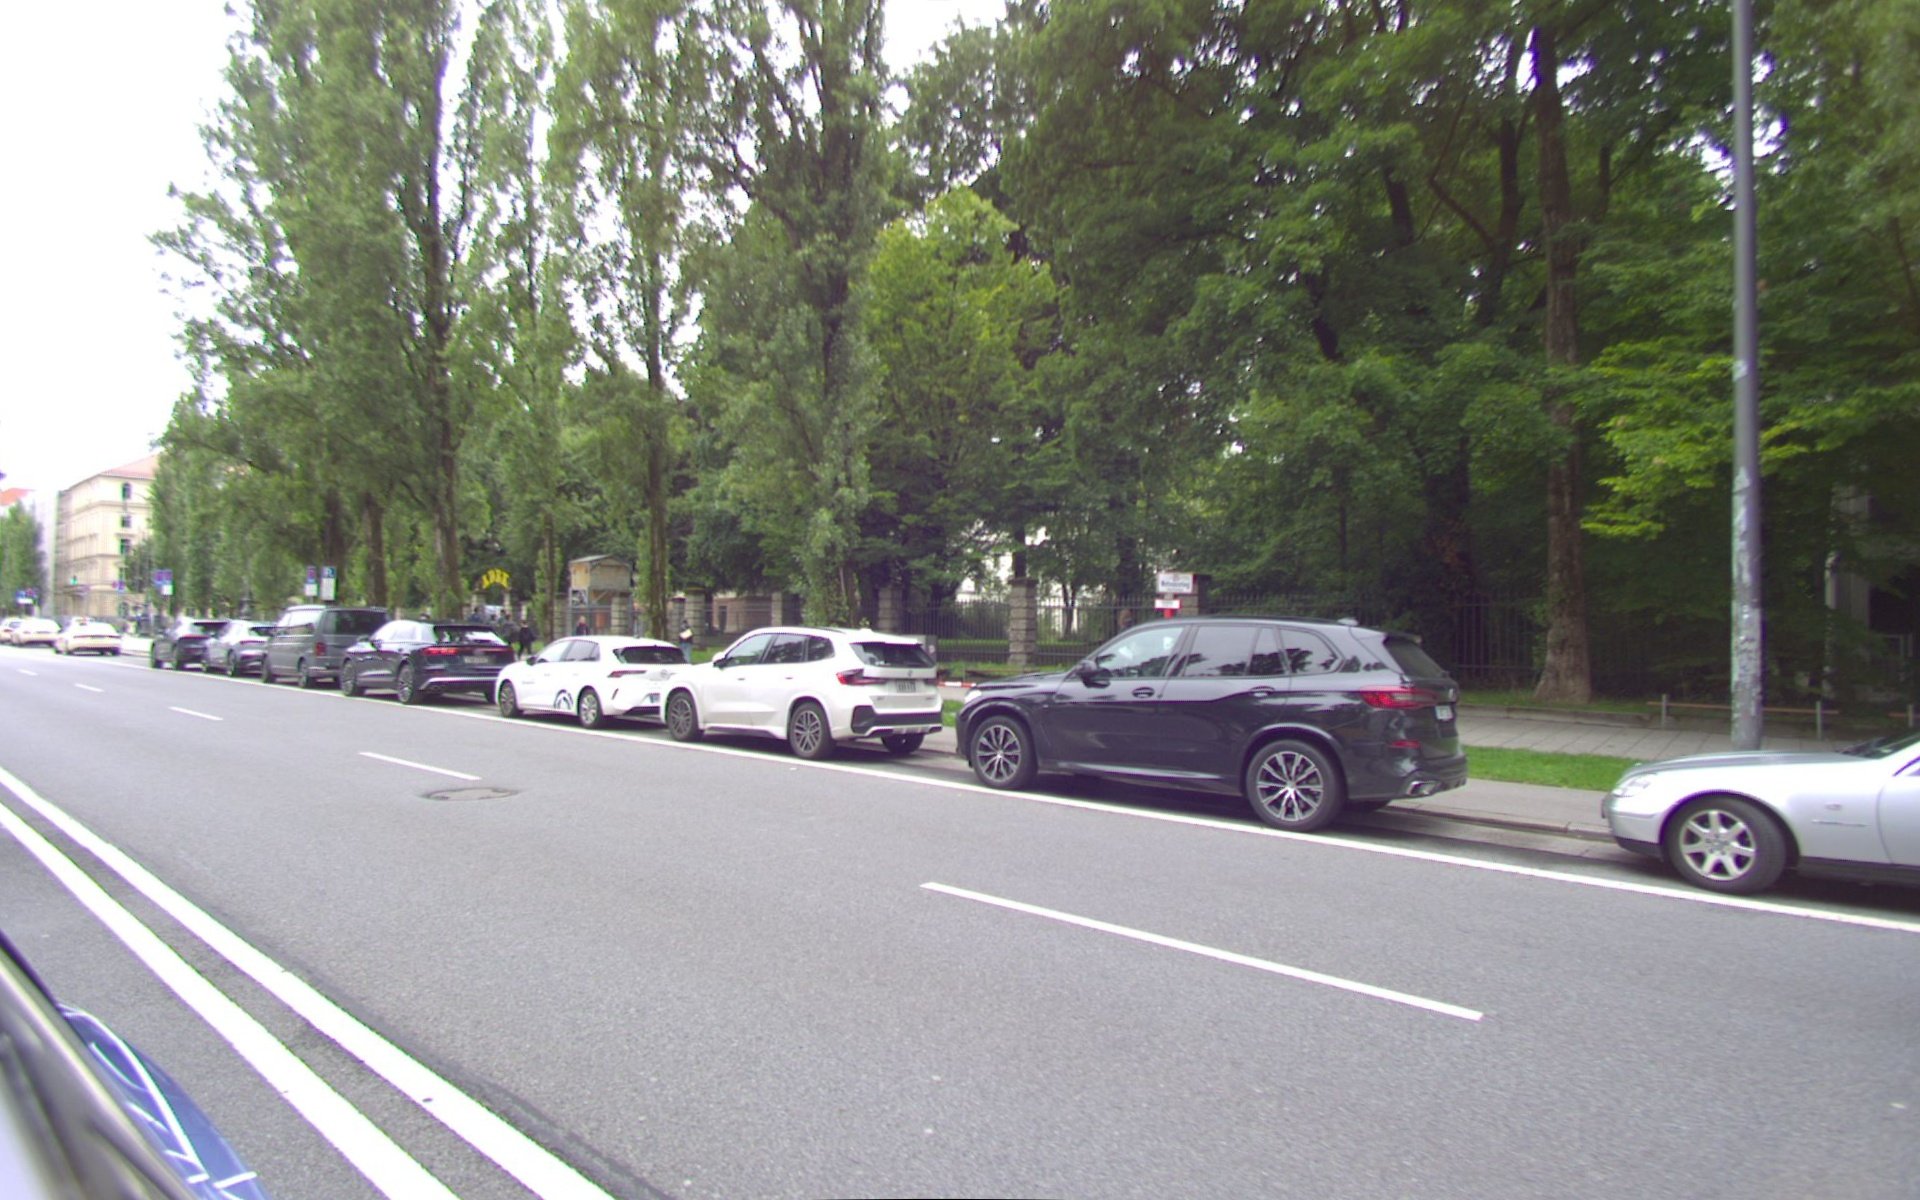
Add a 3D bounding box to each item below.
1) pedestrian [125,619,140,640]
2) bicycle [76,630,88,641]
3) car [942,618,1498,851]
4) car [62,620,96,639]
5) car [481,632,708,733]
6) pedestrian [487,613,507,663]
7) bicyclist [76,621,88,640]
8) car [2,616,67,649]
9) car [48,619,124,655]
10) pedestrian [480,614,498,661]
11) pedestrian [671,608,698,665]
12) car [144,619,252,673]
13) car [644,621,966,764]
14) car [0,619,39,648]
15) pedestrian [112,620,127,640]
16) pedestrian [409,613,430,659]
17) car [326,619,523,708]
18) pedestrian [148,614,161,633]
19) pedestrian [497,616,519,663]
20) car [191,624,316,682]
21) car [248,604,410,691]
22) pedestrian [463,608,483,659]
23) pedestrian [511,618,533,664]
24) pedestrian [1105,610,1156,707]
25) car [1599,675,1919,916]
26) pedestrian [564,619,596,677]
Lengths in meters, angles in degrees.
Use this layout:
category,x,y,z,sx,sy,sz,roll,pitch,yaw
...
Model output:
category,x,y,z,sx,sy,sz,roll,pitch,yaw
pedestrian,-69.754,2.496,85.329,0.833,1.691,0.969,1,-2,-33
bicycle,-72.593,2.925,83.646,0.699,0.946,1.737,1,-2,-43
car,2.242,1.066,9.518,4.713,1.671,1.861,-1,-5,39
car,-91.911,3.033,105.568,4.990,1.869,1.977,0,-3,42
car,-6.186,1.296,16.918,4.234,1.433,1.659,-1,-3,40
pedestrian,-18.555,1.513,40.600,0.531,1.974,0.544,-1,-1,40
bicyclist,-72.625,2.523,83.696,0.685,1.510,0.862,2,-3,-43
car,-49.764,1.743,54.389,4.962,1.637,1.917,0,-2,40
car,-38.882,1.666,44.980,4.788,1.509,1.910,-2,-3,41
pedestrian,-18.622,1.485,40.004,0.611,1.849,0.429,-1,-2,40
pedestrian,-8.668,1.130,31.812,0.672,1.761,0.544,-1,-1,40
car,-24.667,1.474,32.694,4.610,1.608,1.764,-1,-4,40
car,-2.194,1.137,13.533,4.459,1.600,1.766,-1,-4,41
car,-55.304,1.931,58.929,4.855,1.571,1.800,-1,-4,40
pedestrian,-70.550,2.491,84.933,0.833,1.691,0.969,1,-2,-33
pedestrian,-20.871,1.384,39.051,0.531,1.761,0.544,-1,-1,40
car,-11.174,1.259,20.965,5.049,1.621,1.796,-1,-4,40
pedestrian,-87.218,2.524,109.552,0.747,2.029,0.793,0,-2,5
pedestrian,-16.487,1.426,36.911,0.531,1.714,0.544,-1,-1,40
car,-20.910,1.515,29.892,4.651,1.596,1.871,-1,-3,40
car,-15.929,1.174,25.448,4.933,1.971,1.973,-1,-4,40
pedestrian,-19.094,1.305,39.694,0.531,1.974,0.544,-1,-1,40
pedestrian,-16.162,1.511,37.362,0.531,1.682,0.544,-1,-1,40
pedestrian,3.278,1.109,19.467,0.775,1.829,0.633,-1,-2,40
car,6.329,1.177,6.084,4.027,1.314,1.564,-1,-4,41
pedestrian,-11.482,1.431,30.596,0.786,1.733,0.577,-1,-2,39
